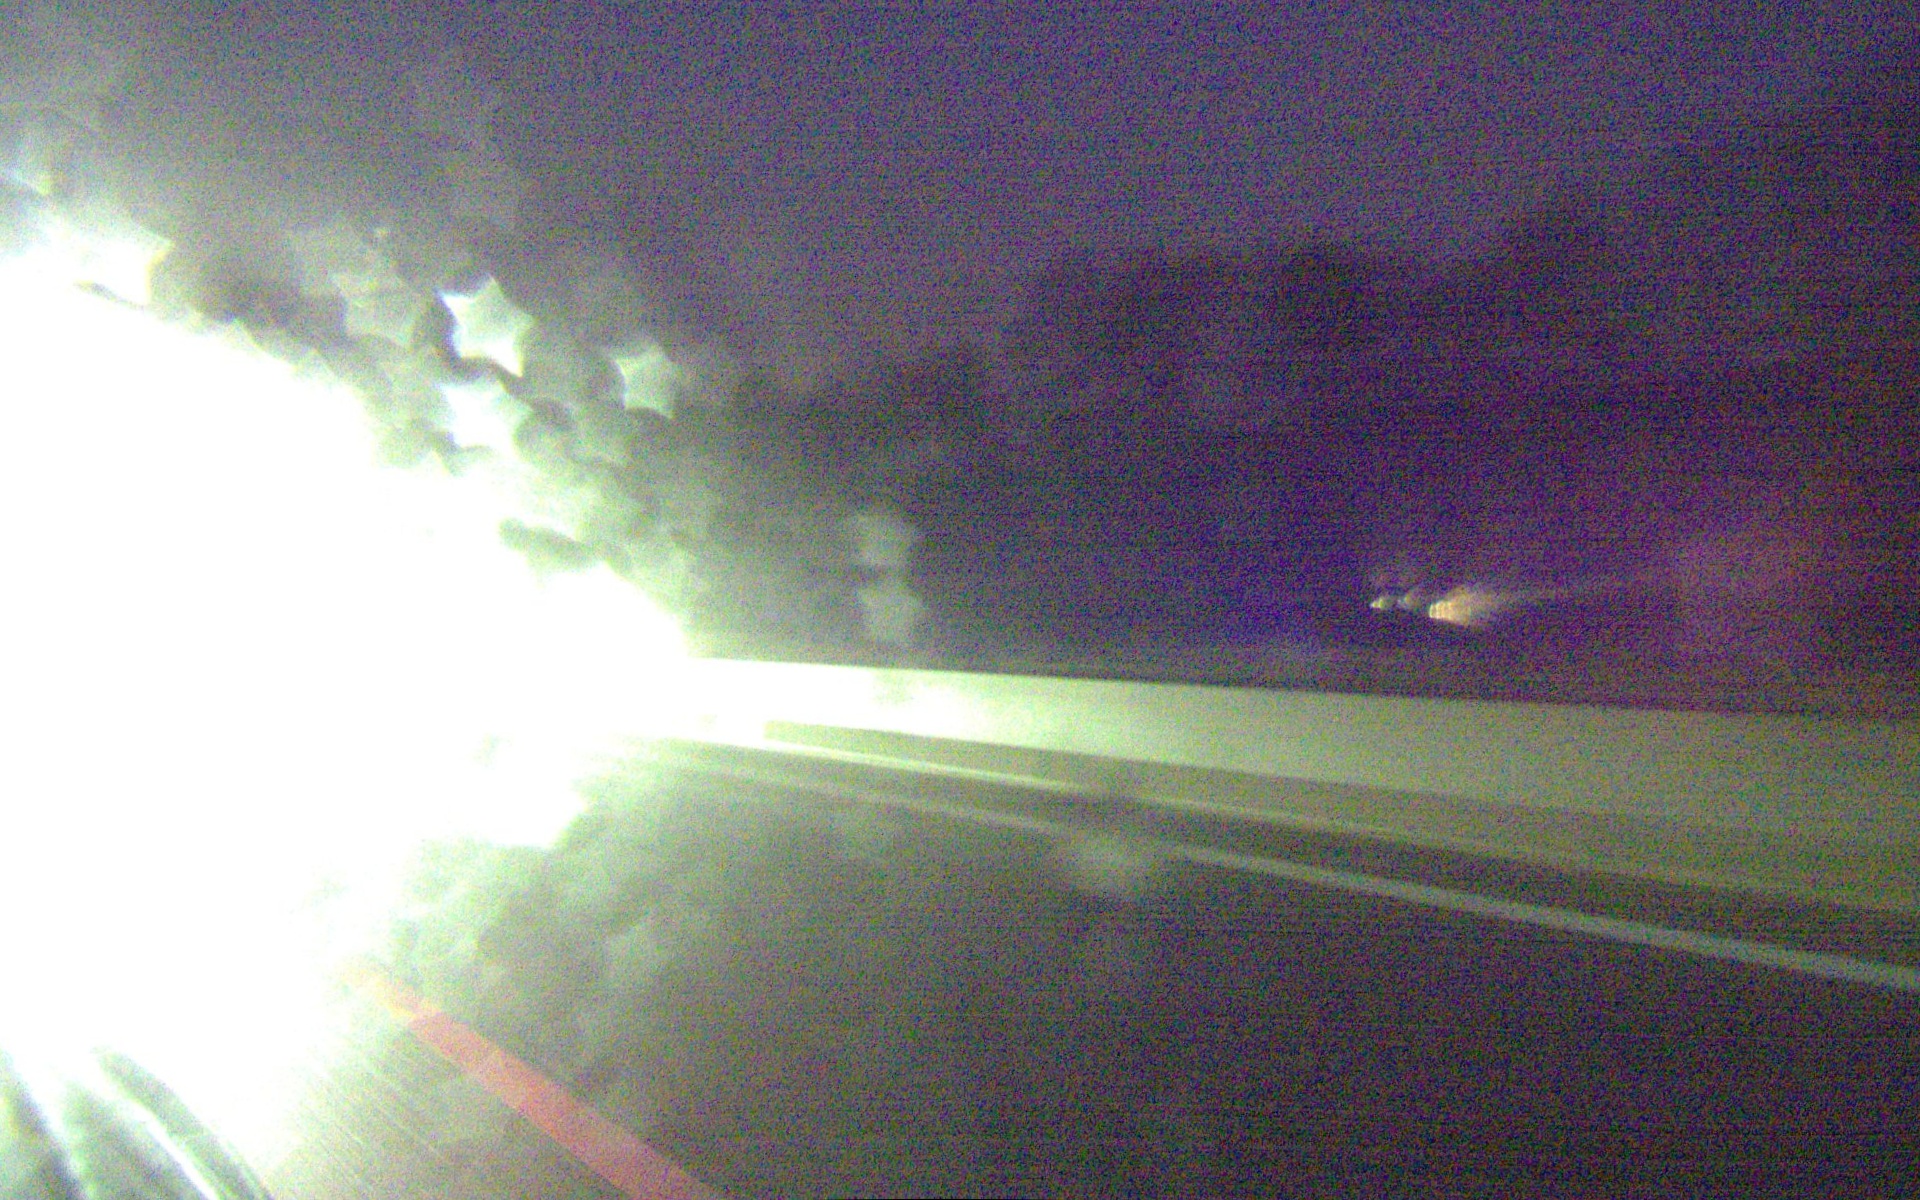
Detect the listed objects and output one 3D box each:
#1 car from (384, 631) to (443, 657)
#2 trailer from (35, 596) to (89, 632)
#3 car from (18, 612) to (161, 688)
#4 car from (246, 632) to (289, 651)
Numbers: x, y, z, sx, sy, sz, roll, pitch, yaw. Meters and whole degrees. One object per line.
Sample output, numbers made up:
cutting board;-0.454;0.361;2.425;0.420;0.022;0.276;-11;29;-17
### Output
car;-33.842;2.696;62.608;3.998;1.497;1.973;-2;0;42
trailer;-126.188;1.963;142.060;13.957;4.659;4.122;-1;-3;43
car;-20.515;1.142;23.803;2.277;1.621;3.874;3;-3;-44
car;-58.271;3.446;85.100;4.406;1.497;1.973;-2;0;42
